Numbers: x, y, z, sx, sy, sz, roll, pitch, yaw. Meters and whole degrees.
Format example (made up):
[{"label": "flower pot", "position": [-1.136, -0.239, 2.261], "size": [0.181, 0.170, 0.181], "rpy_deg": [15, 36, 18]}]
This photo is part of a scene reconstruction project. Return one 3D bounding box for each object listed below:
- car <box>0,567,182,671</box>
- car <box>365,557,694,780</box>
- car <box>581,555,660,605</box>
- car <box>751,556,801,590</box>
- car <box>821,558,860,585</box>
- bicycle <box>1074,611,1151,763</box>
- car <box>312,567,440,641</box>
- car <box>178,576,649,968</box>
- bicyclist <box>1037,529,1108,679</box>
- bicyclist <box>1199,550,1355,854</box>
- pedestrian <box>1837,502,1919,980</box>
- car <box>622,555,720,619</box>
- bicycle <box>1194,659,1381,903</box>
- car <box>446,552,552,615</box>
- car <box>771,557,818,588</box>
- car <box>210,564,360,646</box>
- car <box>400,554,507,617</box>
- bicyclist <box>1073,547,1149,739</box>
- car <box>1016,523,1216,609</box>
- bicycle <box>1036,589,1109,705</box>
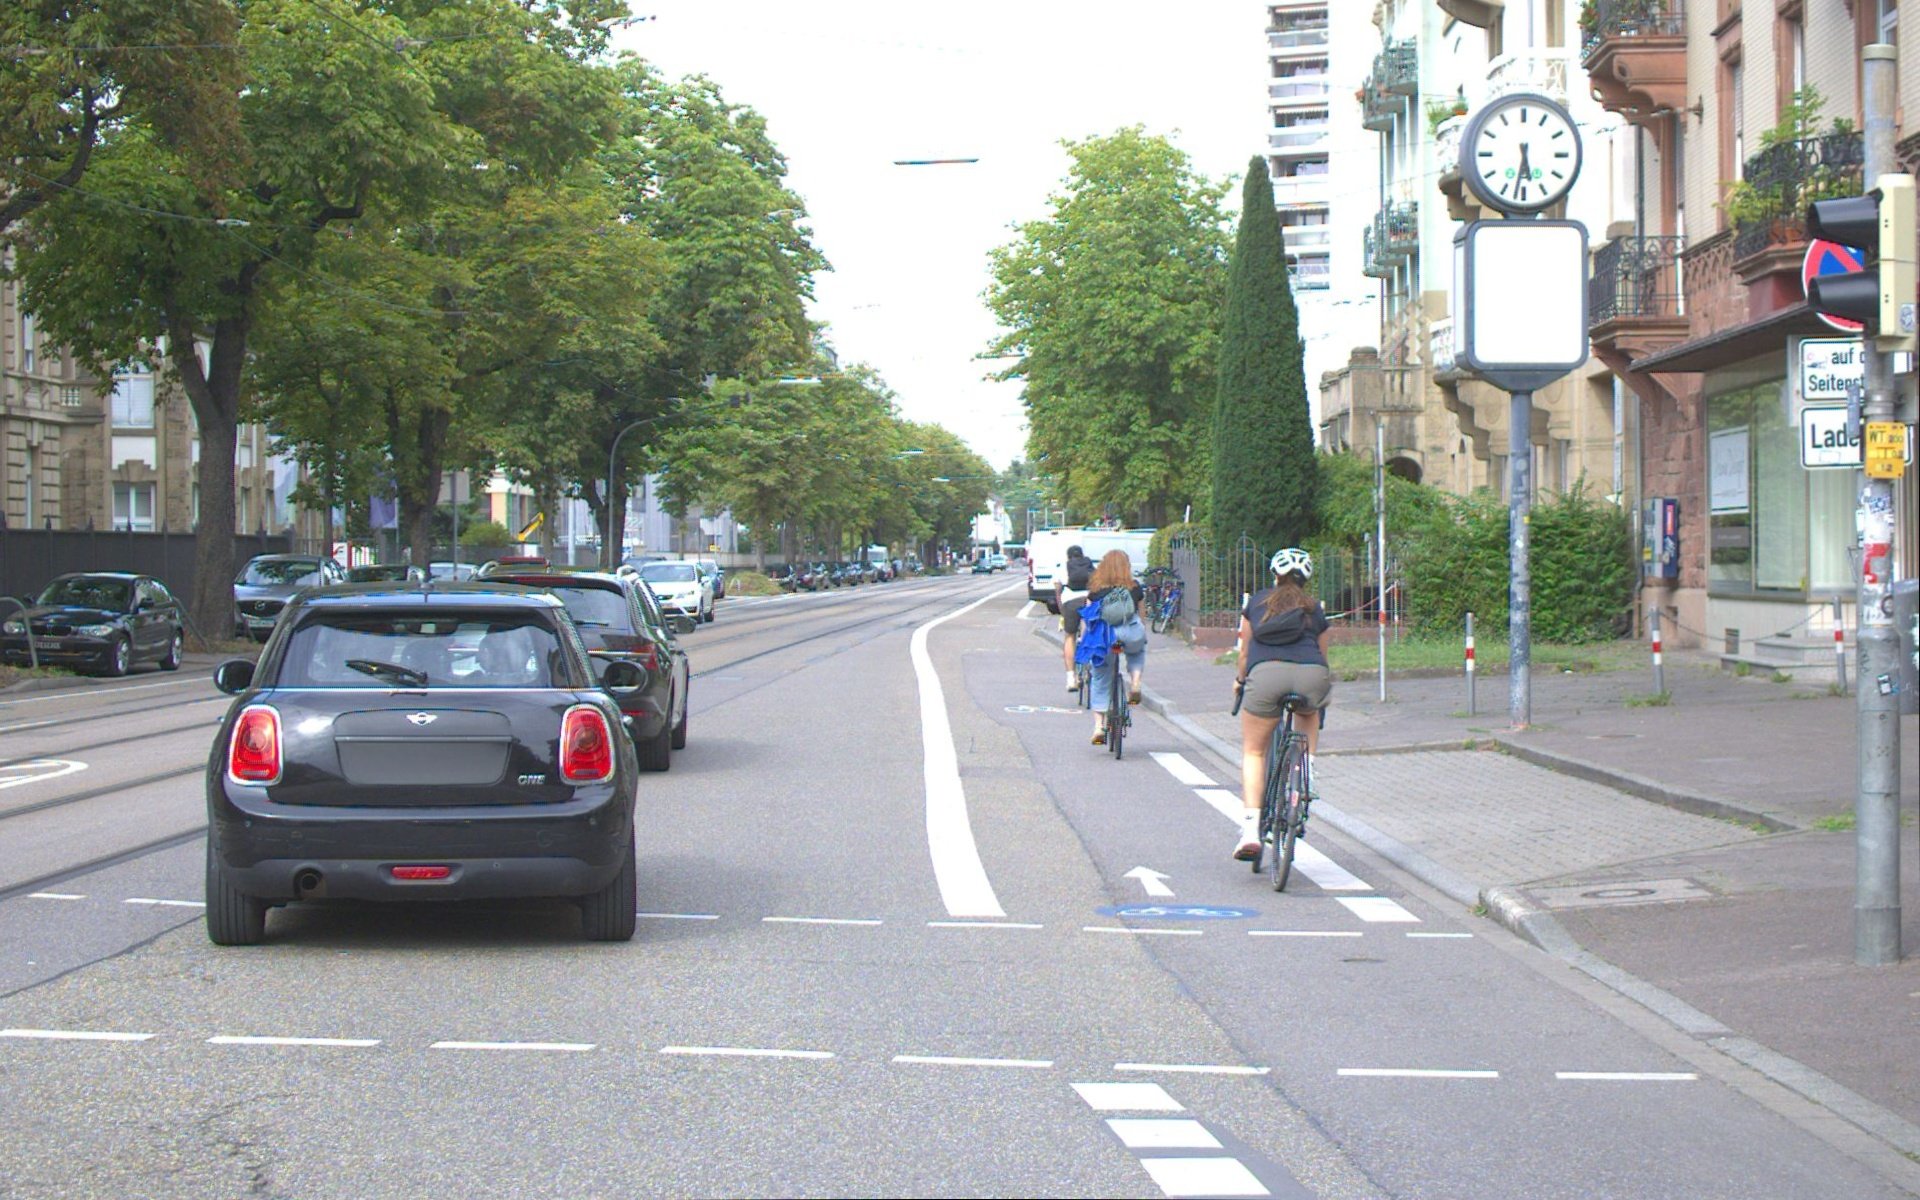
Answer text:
[{"label": "car", "position": [-12.472, 0.240, 49.009], "size": [1.767, 1.390, 4.000], "rpy_deg": [-1, 1, 1]}, {"label": "car", "position": [-3.115, 0.446, 25.644], "size": [1.927, 1.504, 4.000], "rpy_deg": [-1, 1, 0]}, {"label": "car", "position": [-10.908, -0.662, 110.712], "size": [1.994, 1.546, 4.000], "rpy_deg": [0, 1, 3]}, {"label": "car", "position": [-8.725, -1.303, 163.121], "size": [1.994, 1.546, 4.000], "rpy_deg": [0, 1, 3]}, {"label": "car", "position": [-7.071, -1.697, 203.475], "size": [1.994, 1.546, 4.000], "rpy_deg": [0, 1, 3]}, {"label": "bicycle", "position": [1.254, 0.700, 28.316], "size": [0.598, 1.166, 1.696], "rpy_deg": [-1, 1, 2]}, {"label": "car", "position": [-11.637, 0.058, 68.690], "size": [1.767, 1.390, 4.000], "rpy_deg": [-1, 1, 1]}, {"label": "car", "position": [-2.376, 0.630, 15.025], "size": [1.751, 1.436, 4.001], "rpy_deg": [-1, 1, -9]}, {"label": "bicyclist", "position": [1.197, 0.032, 36.463], "size": [0.684, 1.558, 0.998], "rpy_deg": [-1, 1, 4]}, {"label": "bicyclist", "position": [1.578, 0.489, 17.205], "size": [0.614, 1.468, 0.915], "rpy_deg": [-1, 1, -4]}, {"label": "pedestrian", "position": [3.718, 0.469, 12.198], "size": [0.833, 1.668, 0.732], "rpy_deg": [-4, 1, -41]}, {"label": "car", "position": [-6.517, -0.314, 77.873], "size": [1.767, 1.390, 4.000], "rpy_deg": [-1, 1, 1]}, {"label": "bicycle", "position": [1.596, 0.862, 17.008], "size": [0.614, 1.073, 1.821], "rpy_deg": [-1, 1, -4]}, {"label": "car", "position": [-11.716, -0.437, 87.677], "size": [1.994, 1.546, 4.000], "rpy_deg": [0, 1, 3]}, {"label": "car", "position": [-8.335, -1.402, 173.581], "size": [1.994, 1.546, 4.000], "rpy_deg": [0, 1, 3]}, {"label": "car", "position": [-11.939, 0.064, 61.022], "size": [1.767, 1.390, 4.000], "rpy_deg": [-1, 1, 1]}, {"label": "car", "position": [-11.664, -0.354, 79.346], "size": [1.767, 1.390, 4.000], "rpy_deg": [-1, 1, 1]}, {"label": "bicyclist", "position": [1.243, 0.339, 28.266], "size": [0.594, 1.545, 1.013], "rpy_deg": [-1, 1, 2]}, {"label": "car", "position": [4.230, -0.933, 92.661], "size": [5.024, 2.265, 2.396], "rpy_deg": [-1, 1, -38]}, {"label": "bicycle", "position": [1.200, 0.487, 36.461], "size": [0.684, 1.166, 1.696], "rpy_deg": [-1, 1, 4]}]
